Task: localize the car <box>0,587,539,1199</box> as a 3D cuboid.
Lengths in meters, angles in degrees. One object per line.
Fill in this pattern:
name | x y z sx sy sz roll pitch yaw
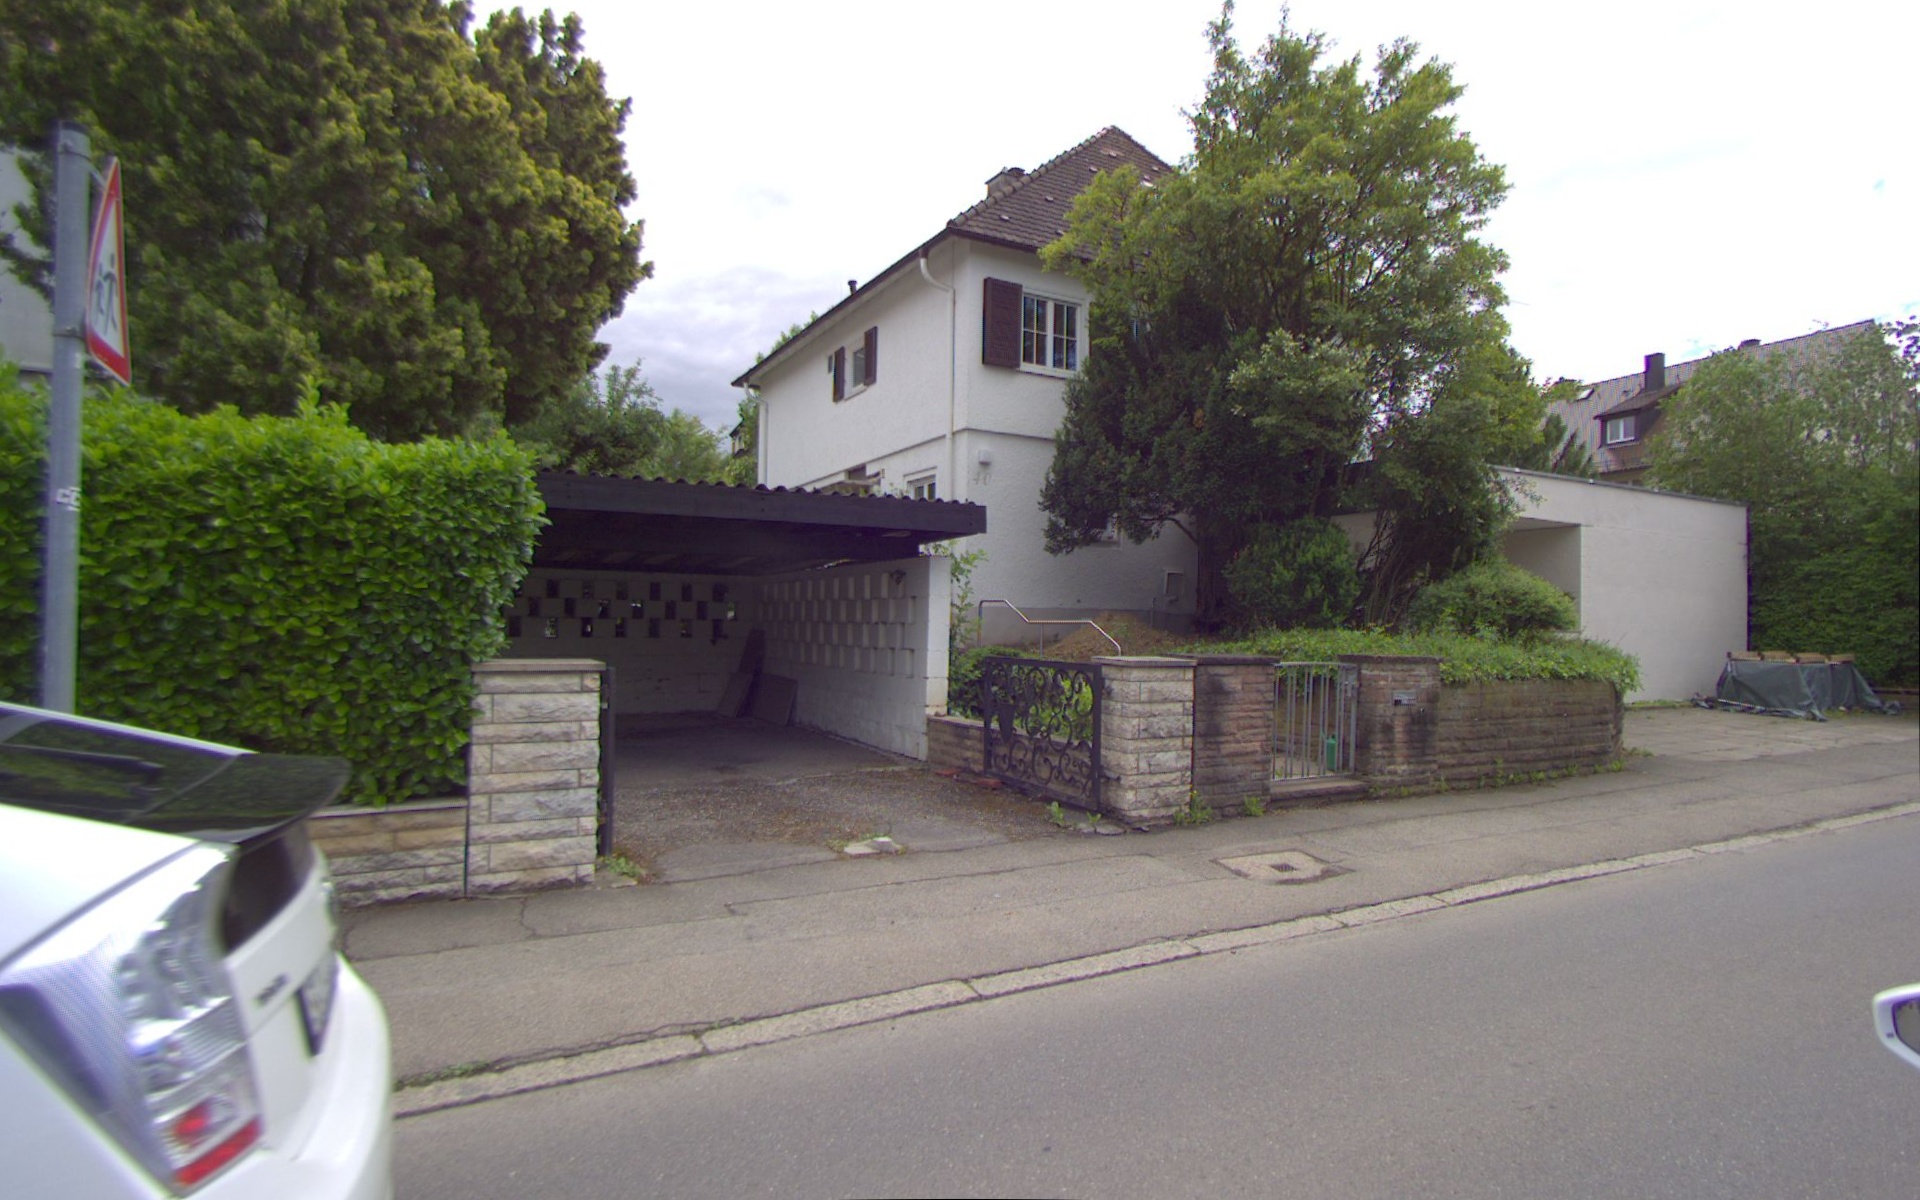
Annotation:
car | -2.796 0.727 0.935 4.232 1.470 1.846 1 -3 -31
